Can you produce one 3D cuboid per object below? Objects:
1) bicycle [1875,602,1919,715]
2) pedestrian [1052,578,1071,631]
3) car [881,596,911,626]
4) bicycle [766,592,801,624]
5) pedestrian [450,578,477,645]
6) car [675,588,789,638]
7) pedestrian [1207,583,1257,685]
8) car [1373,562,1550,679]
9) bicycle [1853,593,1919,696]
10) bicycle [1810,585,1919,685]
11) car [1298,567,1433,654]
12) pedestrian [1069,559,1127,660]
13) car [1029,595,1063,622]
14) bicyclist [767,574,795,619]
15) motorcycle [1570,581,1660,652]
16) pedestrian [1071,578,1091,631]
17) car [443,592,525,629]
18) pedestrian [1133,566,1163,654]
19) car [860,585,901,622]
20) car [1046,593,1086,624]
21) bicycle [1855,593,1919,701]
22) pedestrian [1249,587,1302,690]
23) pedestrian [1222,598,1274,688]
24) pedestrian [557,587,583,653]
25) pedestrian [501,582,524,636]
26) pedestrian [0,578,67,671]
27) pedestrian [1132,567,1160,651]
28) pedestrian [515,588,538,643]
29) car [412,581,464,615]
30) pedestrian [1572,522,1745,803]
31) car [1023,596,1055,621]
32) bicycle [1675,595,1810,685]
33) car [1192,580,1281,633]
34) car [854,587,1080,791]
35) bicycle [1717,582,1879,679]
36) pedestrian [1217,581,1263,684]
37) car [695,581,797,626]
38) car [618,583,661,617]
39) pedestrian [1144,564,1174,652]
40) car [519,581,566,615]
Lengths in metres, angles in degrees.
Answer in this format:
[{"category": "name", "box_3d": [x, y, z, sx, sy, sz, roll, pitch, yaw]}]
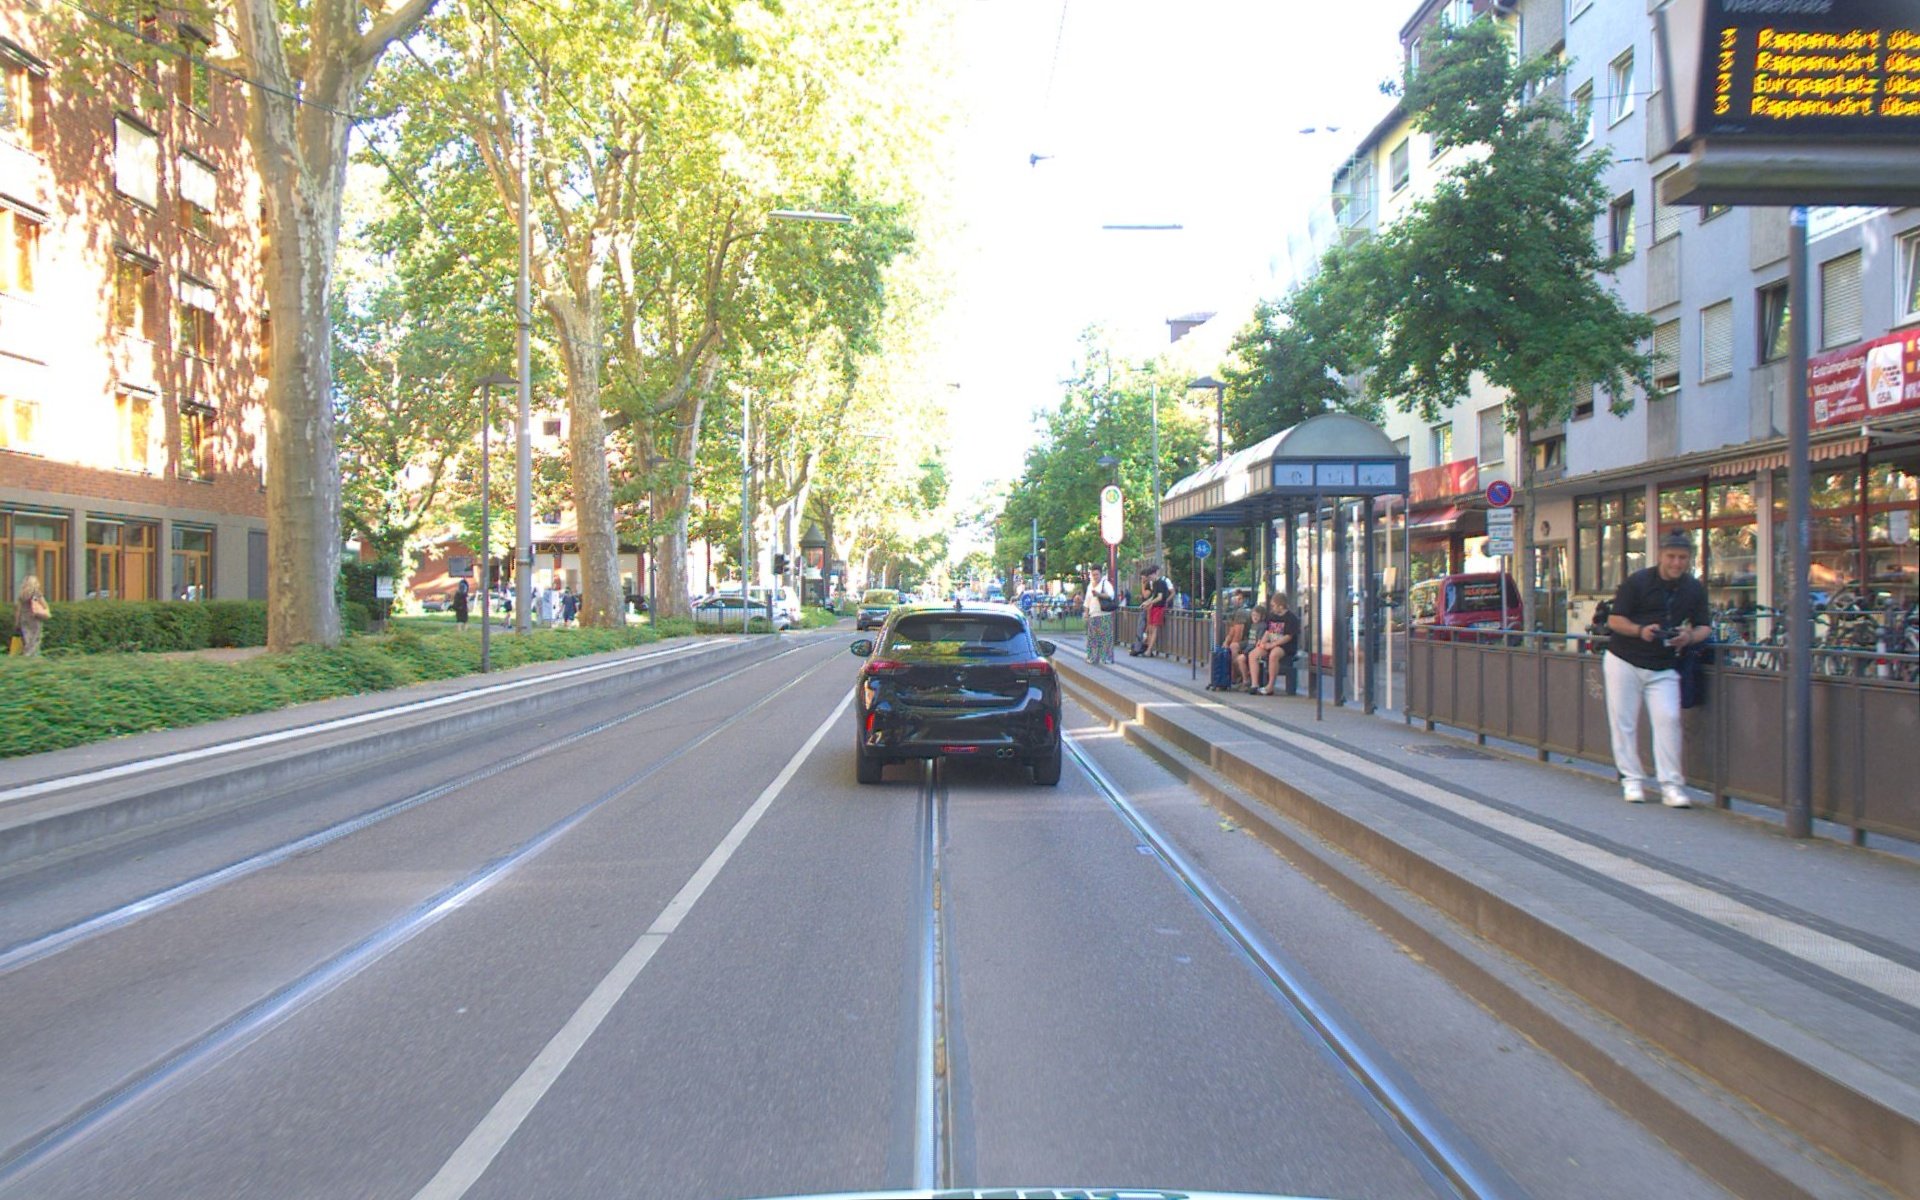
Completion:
[{"category": "bicycle", "box_3d": [10.268, 0.601, 16.469, 0.592, 1.156, 2.427, 1, 0, -12]}, {"category": "pedestrian", "box_3d": [3.992, 0.181, 65.248, 0.661, 2.049, 0.701, 2, 0, 5]}, {"category": "car", "box_3d": [-3.832, 0.642, 98.742, 1.749, 1.723, 3.998, 1, 0, -3]}, {"category": "bicycle", "box_3d": [-7.012, 0.318, 65.892, 0.935, 1.262, 2.978, 1, 0, 2]}, {"category": "pedestrian", "box_3d": [-14.905, 0.338, 49.664, 0.486, 1.984, 0.675, 1, -1, 11]}, {"category": "car", "box_3d": [-8.355, 0.474, 60.664, 4.037, 1.731, 1.880, 1, 0, -8]}, {"category": "pedestrian", "box_3d": [3.615, 0.451, 22.006, 0.523, 1.327, 0.550, 1, -1, -5]}, {"category": "car", "box_3d": [9.181, 0.366, 30.602, 1.953, 1.986, 3.998, 1, 0, -2]}, {"category": "bicycle", "box_3d": [11.009, 0.504, 18.578, 0.403, 1.156, 2.197, 1, 0, -12]}, {"category": "bicycle", "box_3d": [11.257, 0.408, 19.893, 0.587, 1.156, 2.197, 1, 0, -12]}, {"category": "car", "box_3d": [9.094, 0.230, 37.393, 1.953, 1.829, 3.998, 1, 0, -2]}, {"category": "pedestrian", "box_3d": [2.423, 0.171, 29.015, 0.736, 1.739, 0.761, 0, -1, 33]}, {"category": "car", "box_3d": [5.566, 0.542, 107.579, 1.953, 1.661, 3.999, 1, 0, -1]}, {"category": "bicyclist", "box_3d": [-7.037, -0.146, 64.994, 0.921, 1.733, 1.153, 1, -1, 2]}, {"category": "motorcycle", "box_3d": [12.409, 0.306, 31.422, 0.874, 1.302, 2.042, 1, 0, -1]}, {"category": "pedestrian", "box_3d": [4.754, 0.169, 64.949, 0.661, 2.049, 0.702, 2, 0, 11]}, {"category": "car", "box_3d": [-27.410, 0.606, 95.351, 4.163, 2.049, 1.999, 1, 0, -1]}, {"category": "pedestrian", "box_3d": [3.764, 0.199, 33.110, 0.520, 1.739, 0.752, 1, -1, 1]}, {"category": "car", "box_3d": [-3.451, 0.166, 72.110, 1.710, 1.571, 3.998, 1, 0, -3]}, {"category": "car", "box_3d": [6.053, 0.485, 94.636, 1.953, 1.661, 3.999, 1, 0, -1]}, {"category": "bicycle", "box_3d": [10.719, 0.506, 17.358, 0.600, 1.156, 2.913, 1, 0, -12]}, {"category": "pedestrian", "box_3d": [3.898, 0.467, 20.453, 0.523, 1.252, 0.510, 1, -1, -5]}, {"category": "pedestrian", "box_3d": [3.652, 0.543, 20.980, 0.523, 1.119, 0.550, 1, -1, -5]}, {"category": "pedestrian", "box_3d": [-11.882, 0.614, 50.433, 0.658, 1.984, 0.498, 1, -1, -1]}, {"category": "pedestrian", "box_3d": [-16.630, 0.341, 61.452, 0.659, 1.984, 0.497, 2, 0, -4]}, {"category": "pedestrian", "box_3d": [-16.571, 0.429, 29.495, 0.759, 1.633, 0.946, 1, -1, -1]}, {"category": "pedestrian", "box_3d": [3.885, 0.194, 34.545, 0.520, 1.739, 0.596, 1, -1, 1]}, {"category": "pedestrian", "box_3d": [-15.898, 0.578, 60.671, 0.659, 1.984, 0.497, 2, 0, -4]}, {"category": "car", "box_3d": [-32.401, -0.142, 102.739, 1.953, 2.049, 3.999, 1, 0, -1]}, {"category": "pedestrian", "box_3d": [4.207, 0.359, 10.016, 0.618, 1.603, 0.870, 2, 0, -1]}, {"category": "car", "box_3d": [5.409, 0.570, 113.872, 1.953, 1.661, 3.999, 1, 0, -1]}, {"category": "bicycle", "box_3d": [10.635, 0.527, 22.575, 0.586, 1.156, 2.201, 1, 0, -7]}, {"category": "car", "box_3d": [8.244, 0.192, 49.657, 1.953, 1.512, 3.999, 1, 0, -1]}, {"category": "car", "box_3d": [-0.040, 0.687, 14.493, 1.725, 1.534, 3.681, -1, 0, -3]}, {"category": "bicycle", "box_3d": [10.519, 0.367, 20.862, 0.587, 1.156, 2.197, 1, 0, -12]}, {"category": "pedestrian", "box_3d": [3.633, 0.422, 21.496, 0.493, 1.327, 0.428, 1, -1, -5]}, {"category": "car", "box_3d": [-9.220, 0.162, 71.364, 4.302, 1.884, 1.996, 1, 0, -8]}, {"category": "car", "box_3d": [-20.134, -0.010, 103.911, 1.953, 2.049, 3.999, 1, 0, -1]}, {"category": "pedestrian", "box_3d": [4.065, 0.165, 33.831, 0.520, 1.793, 0.661, 1, -1, 1]}, {"category": "car", "box_3d": [-26.012, -0.103, 103.098, 1.953, 2.049, 3.999, 1, 0, -1]}]
